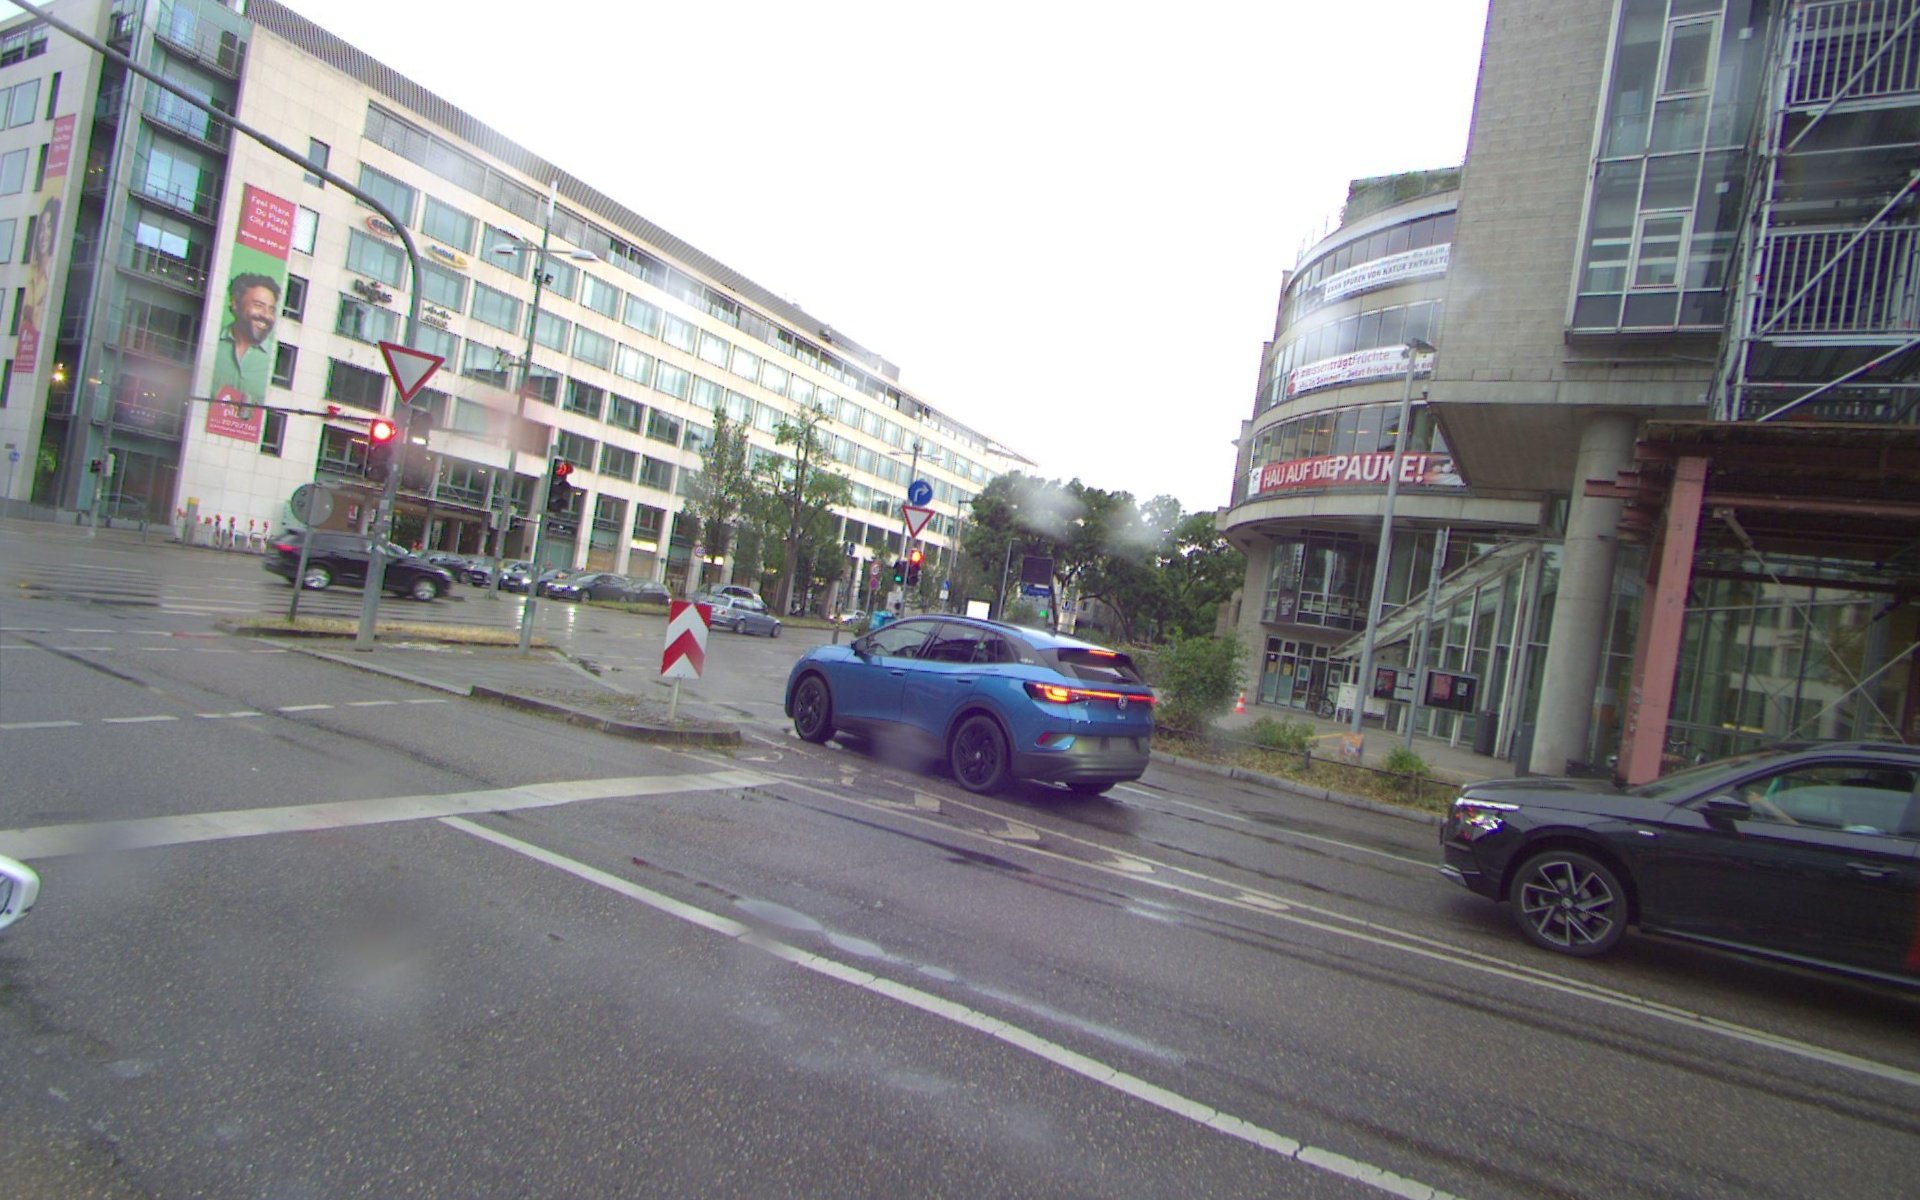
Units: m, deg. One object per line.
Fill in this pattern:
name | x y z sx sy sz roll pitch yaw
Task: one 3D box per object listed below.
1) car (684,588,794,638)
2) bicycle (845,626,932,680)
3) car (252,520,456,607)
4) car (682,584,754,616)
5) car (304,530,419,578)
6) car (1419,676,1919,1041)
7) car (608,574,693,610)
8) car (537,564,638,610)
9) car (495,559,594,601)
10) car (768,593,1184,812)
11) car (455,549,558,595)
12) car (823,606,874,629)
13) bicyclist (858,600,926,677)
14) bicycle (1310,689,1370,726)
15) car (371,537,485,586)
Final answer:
car | -8.660 0.549 39.815 1.963 1.504 4.464 8 0 21
bicycle | -1.752 1.328 24.921 0.835 1.116 2.146 7 -1 37
car | -16.574 -0.961 27.669 1.944 1.675 4.342 9 0 44
car | -14.372 0.040 60.078 1.891 1.364 4.654 7 -2 19
car | -28.650 -2.178 48.323 1.962 1.616 4.469 7 -1 17
car | 5.240 1.555 6.143 4.080 1.558 1.780 7 -1 34
car | -16.634 -0.404 54.295 1.891 1.364 4.654 7 -2 19
car | -16.583 -0.536 45.044 1.690 1.481 4.468 7 -2 19
car | -19.201 -0.898 46.714 1.690 1.364 4.469 7 -2 17
car | -0.040 0.948 10.606 1.699 1.547 4.373 9 -2 -43
car | -21.853 -1.326 48.715 1.962 1.616 4.469 7 -1 17
car | -9.101 1.428 82.252 1.892 1.364 4.650 7 -2 25
bicyclist | -1.682 0.960 24.977 0.835 1.724 1.295 7 -1 38
bicycle | 13.439 3.796 35.621 1.816 0.995 0.757 8 -1 12
car | -25.182 -1.787 47.789 1.963 1.616 4.468 7 -1 20
